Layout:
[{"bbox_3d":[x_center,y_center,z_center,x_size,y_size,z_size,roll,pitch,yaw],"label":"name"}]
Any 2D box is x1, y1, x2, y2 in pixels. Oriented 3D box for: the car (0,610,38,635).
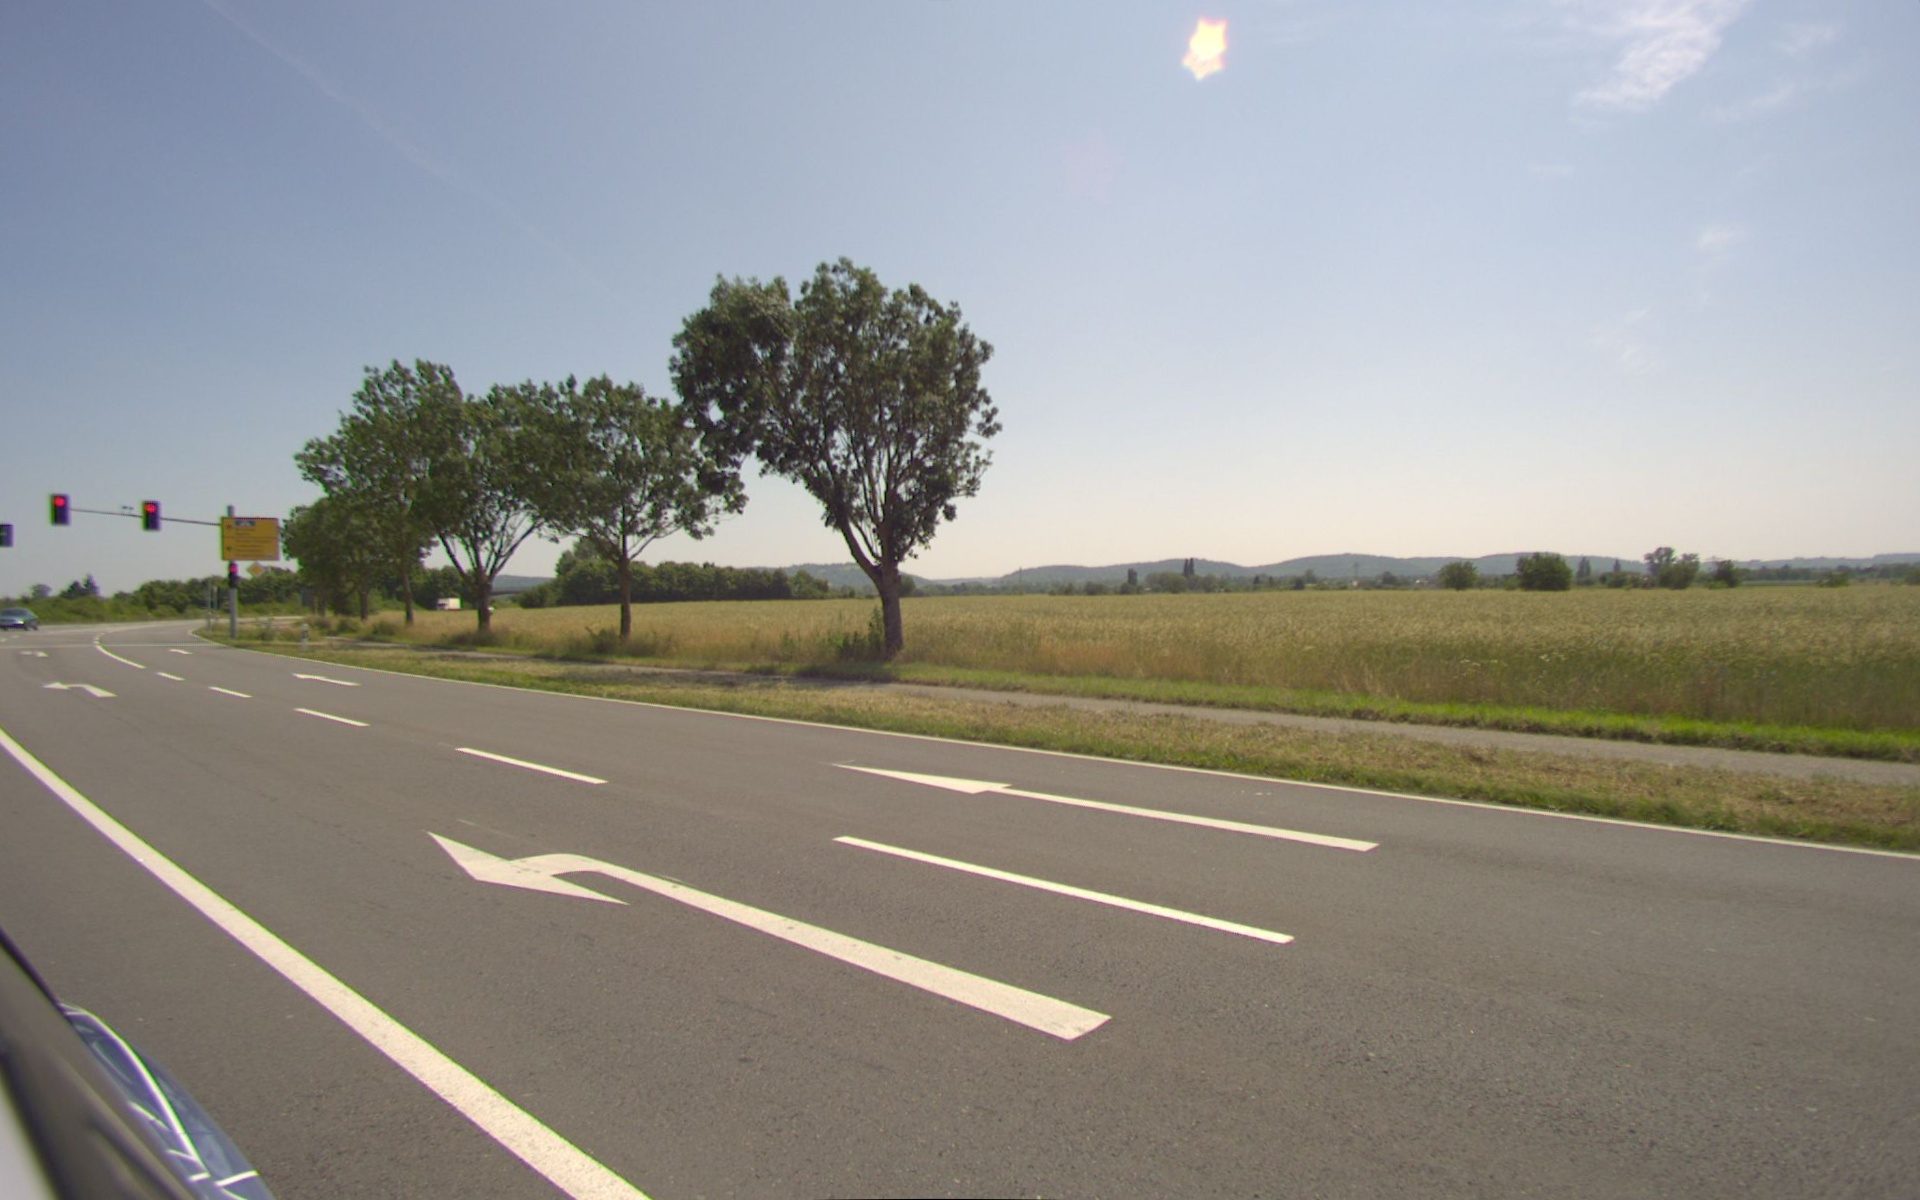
[{"bbox_3d":[-60.729,1.460,65.002,1.630,1.578,4.011,0,-1,-34],"label":"car"}]
